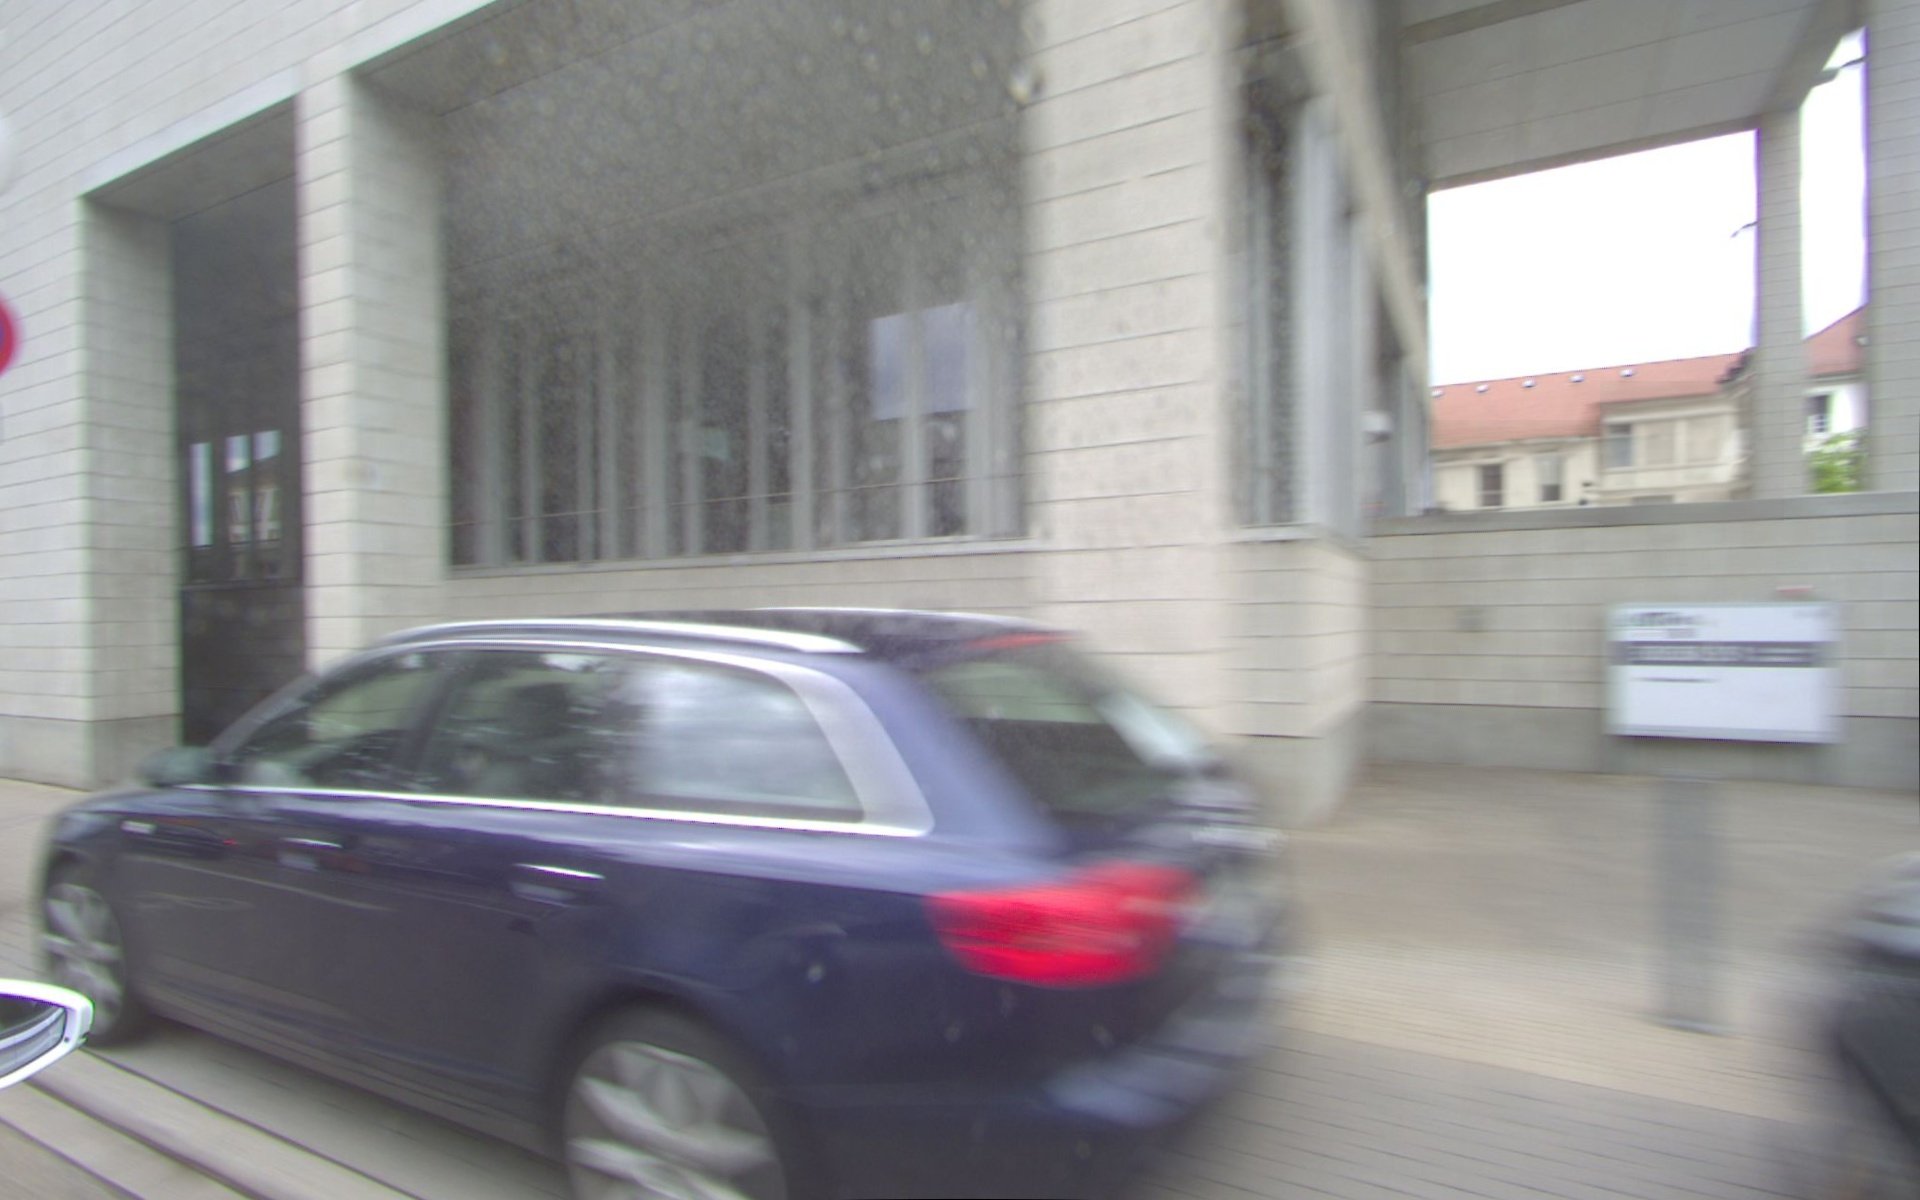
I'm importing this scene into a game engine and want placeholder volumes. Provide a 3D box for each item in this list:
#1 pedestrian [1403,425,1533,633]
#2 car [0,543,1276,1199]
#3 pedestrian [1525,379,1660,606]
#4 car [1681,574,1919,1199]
[{"bbox_3d":[4.378,-0.577,8.637,0.625,1.680,0.798,2,0,-45],"label":"pedestrian"},{"bbox_3d":[-1.555,0.702,3.600,4.848,1.471,1.991,-1,-1,29],"label":"car"},{"bbox_3d":[5.070,-0.809,8.027,0.797,1.680,0.626,2,0,-36],"label":"pedestrian"},{"bbox_3d":[3.477,0.663,0.822,4.450,1.462,1.816,-1,1,28],"label":"car"}]
